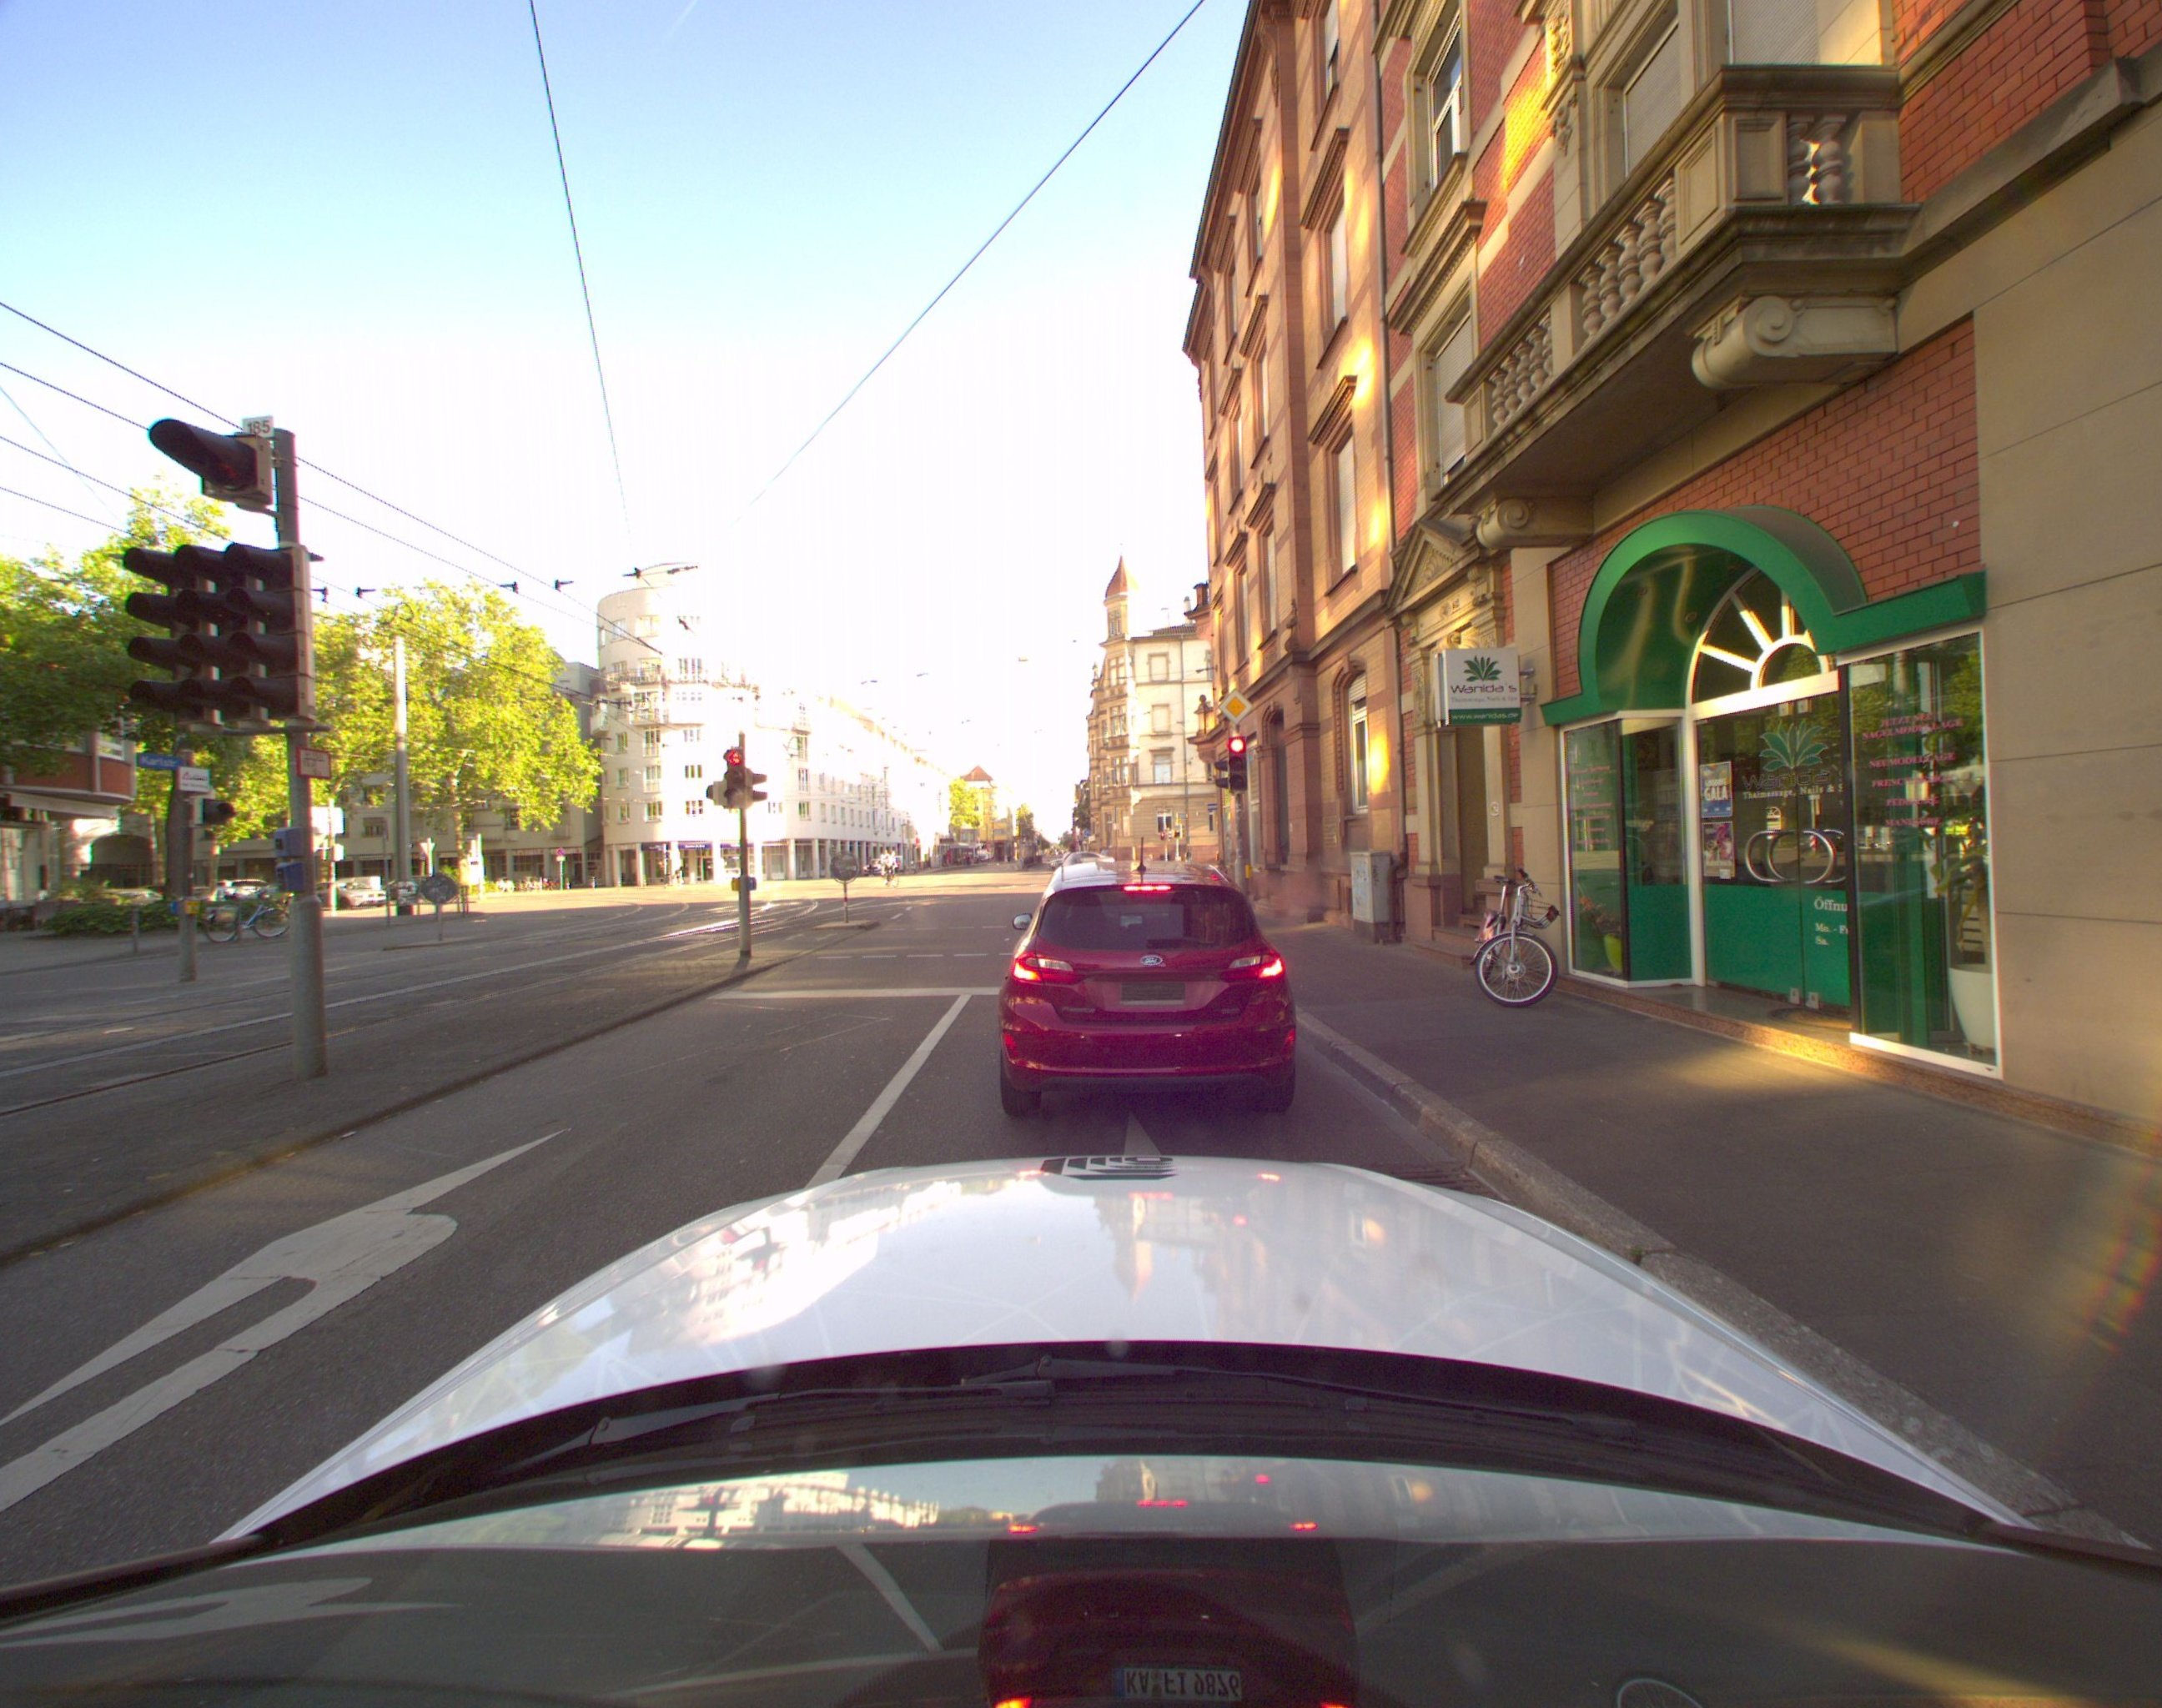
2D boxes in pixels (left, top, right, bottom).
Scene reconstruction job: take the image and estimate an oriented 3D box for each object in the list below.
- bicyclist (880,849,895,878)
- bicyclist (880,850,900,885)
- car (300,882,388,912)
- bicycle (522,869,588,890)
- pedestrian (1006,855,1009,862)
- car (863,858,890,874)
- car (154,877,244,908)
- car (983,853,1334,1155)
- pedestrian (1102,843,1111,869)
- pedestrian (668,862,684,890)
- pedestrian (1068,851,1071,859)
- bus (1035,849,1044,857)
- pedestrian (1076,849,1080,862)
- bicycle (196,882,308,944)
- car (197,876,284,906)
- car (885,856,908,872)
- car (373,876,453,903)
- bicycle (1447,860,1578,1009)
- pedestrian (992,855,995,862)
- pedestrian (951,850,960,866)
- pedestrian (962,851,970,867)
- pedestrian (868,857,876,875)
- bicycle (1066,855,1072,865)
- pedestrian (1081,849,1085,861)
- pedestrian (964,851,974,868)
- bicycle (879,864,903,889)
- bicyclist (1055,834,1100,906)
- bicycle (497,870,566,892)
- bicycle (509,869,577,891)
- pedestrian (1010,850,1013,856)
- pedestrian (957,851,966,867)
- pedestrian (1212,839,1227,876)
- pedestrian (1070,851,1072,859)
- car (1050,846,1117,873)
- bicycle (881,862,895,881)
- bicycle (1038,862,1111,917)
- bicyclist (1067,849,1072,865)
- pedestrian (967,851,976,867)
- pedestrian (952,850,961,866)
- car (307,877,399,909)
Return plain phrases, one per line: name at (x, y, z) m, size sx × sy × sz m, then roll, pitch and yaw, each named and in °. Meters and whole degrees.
bicyclist at (-12.400, 0.589, 52.236) m, size 0.809 × 1.821 × 0.988 m, roll -2°, pitch 0°, yaw -16°
bicyclist at (-9.440, 0.661, 40.267) m, size 0.811 × 1.726 × 0.788 m, roll -2°, pitch 0°, yaw -22°
car at (-36.922, 2.168, 40.806) m, size 3.968 × 1.295 × 1.781 m, roll -2°, pitch 0°, yaw 24°
bicycle at (-42.853, 2.073, 66.428) m, size 4.685 × 1.530 × 1.067 m, roll -2°, pitch 0°, yaw 2°
pedestrian at (-14.708, 0.856, 163.809) m, size 0.522 × 1.488 × 0.583 m, roll -2°, pitch 0°, yaw 1°
car at (-20.157, 1.171, 80.483) m, size 1.760 × 1.546 × 3.460 m, roll -2°, pitch 0°, yaw 0°
car at (-63.326, 2.717, 58.586) m, size 1.986 × 1.964 × 4.001 m, roll -2°, pitch 0°, yaw 1°
car at (0.312, 0.740, 6.038) m, size 1.750 × 1.466 × 3.941 m, roll -1°, pitch 0°, yaw -3°
pedestrian at (2.033, 0.169, 64.949) m, size 0.649 × 2.013 × 0.759 m, roll -2°, pitch 0°, yaw -2°
pedestrian at (-29.709, 1.603, 59.791) m, size 0.949 × 2.013 × 0.931 m, roll -2°, pitch 0°, yaw -29°
pedestrian at (-2.847, 0.318, 204.293) m, size 0.575 × 1.887 × 0.669 m, roll -2°, pitch 0°, yaw -1°
bus at (-11.112, -0.310, 217.661) m, size 1.919 × 2.013 × 7.137 m, roll -2°, pitch 0°, yaw 1°
pedestrian at (-0.544, 0.261, 134.050) m, size 0.574 × 2.013 × 0.632 m, roll -2°, pitch 0°, yaw 5°
bicycle at (-19.752, 1.375, 19.466) m, size 0.668 × 1.327 × 1.907 m, roll 1°, pitch 0°, yaw 2°
car at (-60.407, 2.625, 58.602) m, size 1.986 × 1.964 × 4.001 m, roll -2°, pitch 0°, yaw 1°
car at (-20.055, 1.070, 88.614) m, size 1.696 × 1.718 × 3.562 m, roll -2°, pitch 0°, yaw -1°
car at (-44.181, 2.339, 53.922) m, size 3.969 × 1.531 × 1.618 m, roll -2°, pitch 0°, yaw 4°
bicycle at (3.872, 0.674, 7.443) m, size 0.710 × 1.152 × 1.662 m, roll -4°, pitch 0°, yaw 17°
pedestrian at (-17.923, 0.871, 167.254) m, size 0.579 × 1.488 × 0.525 m, roll -2°, pitch 0°, yaw -3°
pedestrian at (-15.576, 0.501, 101.055) m, size 0.953 × 2.013 × 1.048 m, roll -2°, pitch 0°, yaw -1°
pedestrian at (-15.370, 0.650, 108.678) m, size 0.954 × 2.013 × 1.047 m, roll -2°, pitch 0°, yaw -3°
pedestrian at (-18.931, 1.085, 73.793) m, size 0.524 × 1.681 × 0.484 m, roll -2°, pitch 0°, yaw -8°
bicycle at (-1.250, 0.628, 87.581) m, size 0.524 × 1.089 × 1.487 m, roll -2°, pitch 0°, yaw 1°
pedestrian at (0.281, 0.198, 134.148) m, size 0.574 × 2.013 × 0.632 m, roll -2°, pitch 0°, yaw 5°
pedestrian at (-14.281, 0.698, 103.722) m, size 1.043 × 2.013 × 0.958 m, roll -2°, pitch 0°, yaw -3°
bicycle at (-9.339, 1.081, 40.058) m, size 0.811 × 1.147 × 2.034 m, roll -2°, pitch 0°, yaw -22°
bicyclist at (-0.079, 0.362, 19.044) m, size 0.756 × 1.627 × 0.737 m, roll -1°, pitch 0°, yaw 35°
bicycle at (-43.010, 2.083, 63.739) m, size 4.685 × 1.530 × 1.067 m, roll -2°, pitch 0°, yaw 2°
bicycle at (-42.848, 2.064, 64.876) m, size 4.685 × 1.530 × 1.067 m, roll -2°, pitch 0°, yaw 2°
pedestrian at (-16.896, -0.239, 197.484) m, size 0.630 × 1.604 × 0.575 m, roll -2°, pitch 0°, yaw -18°
pedestrian at (-15.475, 0.626, 105.477) m, size 1.043 × 2.013 × 0.958 m, roll -2°, pitch 0°, yaw -3°
pedestrian at (6.728, 0.156, 39.473) m, size 0.558 × 1.755 × 0.650 m, roll -3°, pitch 0°, yaw 1°
pedestrian at (-2.495, 0.242, 200.619) m, size 0.575 × 1.887 × 0.630 m, roll -2°, pitch 0°, yaw -1°
car at (0.155, 0.365, 56.790) m, size 4.445 × 1.641 × 1.698 m, roll -2°, pitch 0°, yaw -11°
bicycle at (-12.439, 1.124, 52.432) m, size 0.809 × 1.147 × 1.999 m, roll -2°, pitch 0°, yaw -16°
bicycle at (-0.126, 0.799, 18.963) m, size 0.620 × 1.177 × 2.038 m, roll -1°, pitch 0°, yaw 35°
bicyclist at (-1.262, 0.329, 87.368) m, size 0.498 × 1.676 × 0.545 m, roll -2°, pitch 0°, yaw 1°
pedestrian at (-14.279, 0.650, 106.375) m, size 1.043 × 2.013 × 0.958 m, roll -2°, pitch 0°, yaw -3°
pedestrian at (-15.824, 0.464, 103.422) m, size 1.043 × 2.013 × 0.958 m, roll -2°, pitch 0°, yaw -3°
car at (-40.244, 2.135, 45.038) m, size 3.978 × 1.559 × 1.636 m, roll -2°, pitch 0°, yaw 11°
